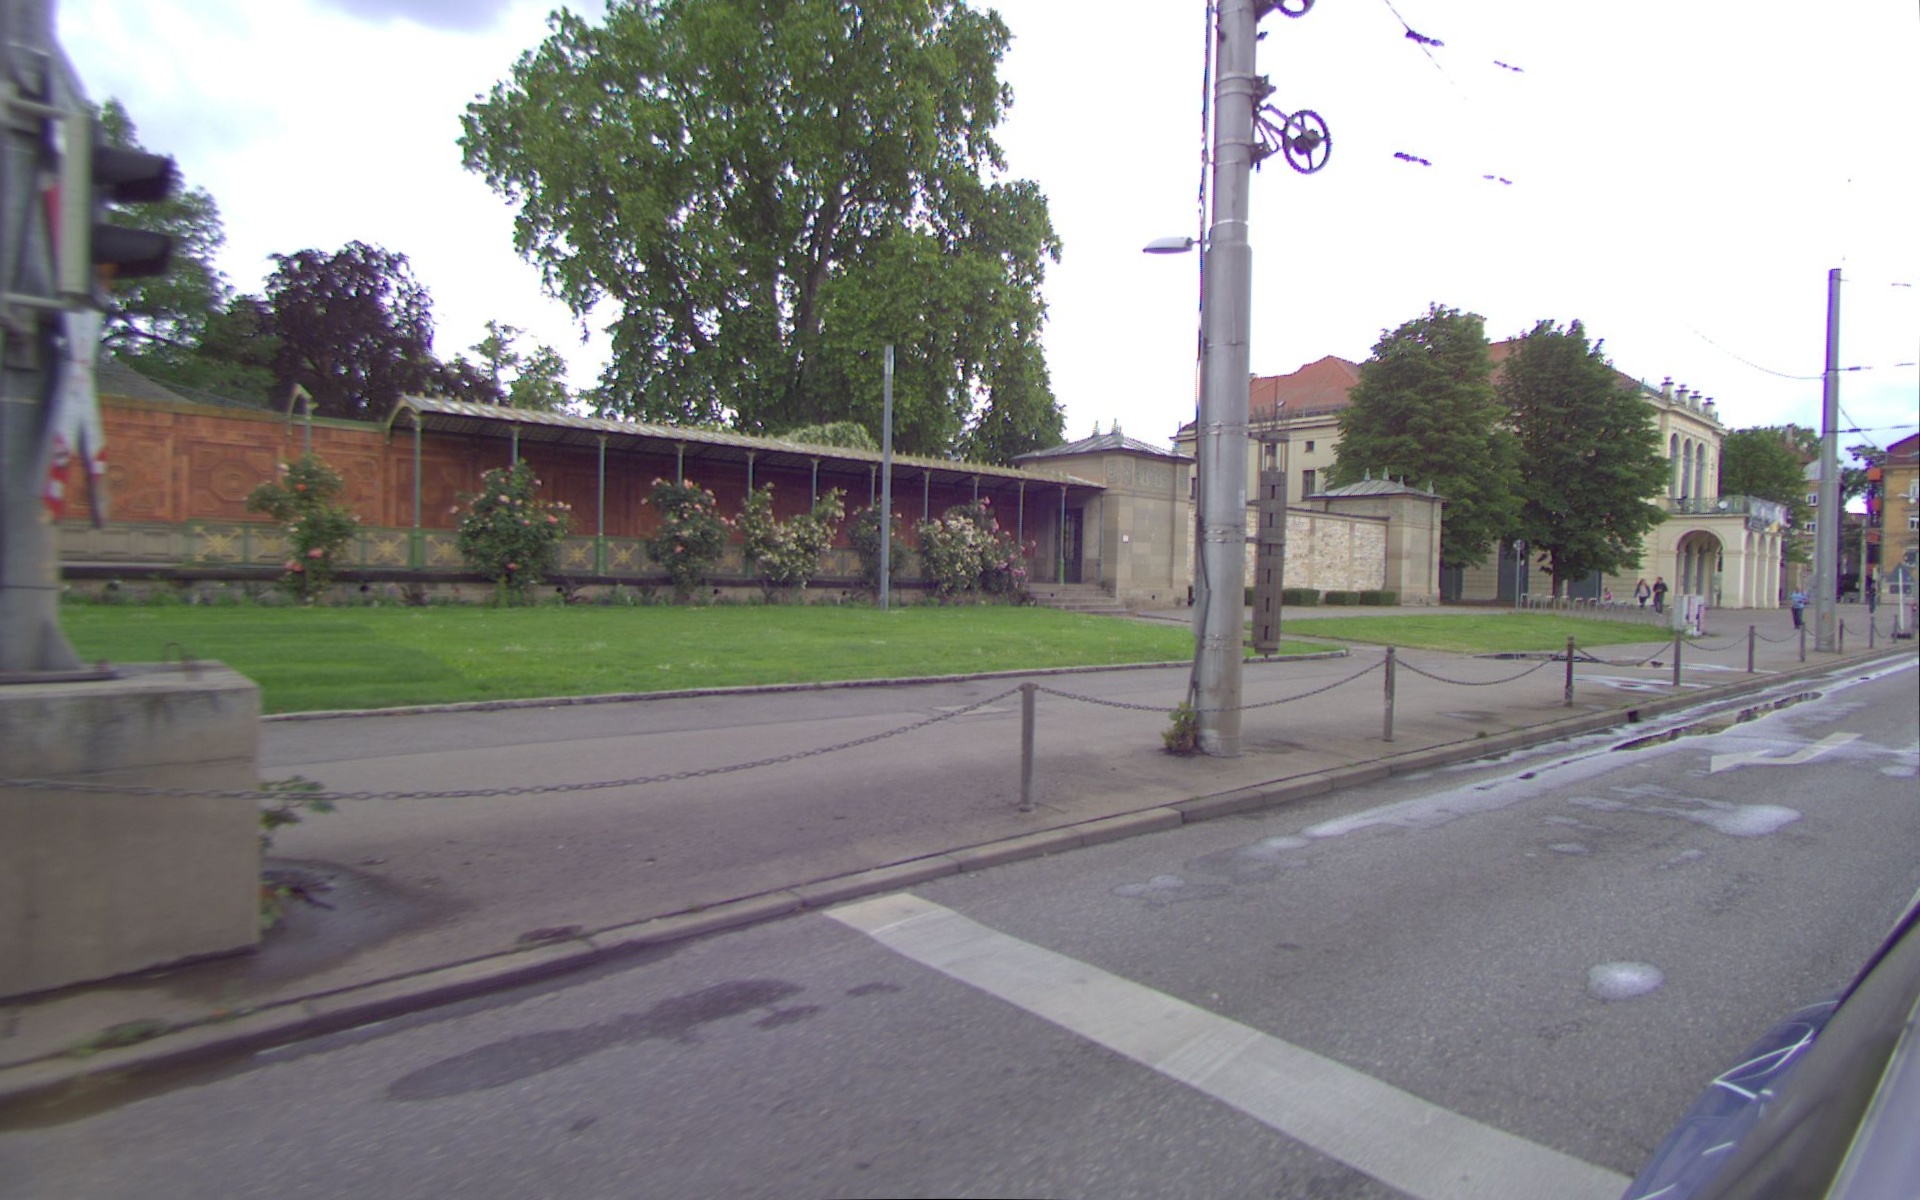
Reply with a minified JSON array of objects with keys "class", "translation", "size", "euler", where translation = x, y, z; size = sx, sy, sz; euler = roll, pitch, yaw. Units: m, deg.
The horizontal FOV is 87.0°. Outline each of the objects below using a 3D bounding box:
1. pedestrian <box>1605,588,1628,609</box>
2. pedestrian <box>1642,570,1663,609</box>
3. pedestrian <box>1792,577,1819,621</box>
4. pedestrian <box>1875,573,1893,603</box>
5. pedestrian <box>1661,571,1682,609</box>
[{"class":"pedestrian","translation":[32.312,-0.079,49.800],"size":[0.748,1.013,0.594],"euler":[2,2,15]},{"class":"pedestrian","translation":[33.059,-0.513,48.289],"size":[0.794,1.814,0.596],"euler":[0,2,-41]},{"class":"pedestrian","translation":[34.836,-0.049,41.709],"size":[0.920,1.789,0.672],"euler":[0,2,-41]},{"class":"pedestrian","translation":[57.263,-0.756,62.693],"size":[0.920,1.789,0.672],"euler":[0,2,-41]},{"class":"pedestrian","translation":[33.546,-0.479,47.727],"size":[0.776,1.720,0.597],"euler":[0,2,-41]}]
